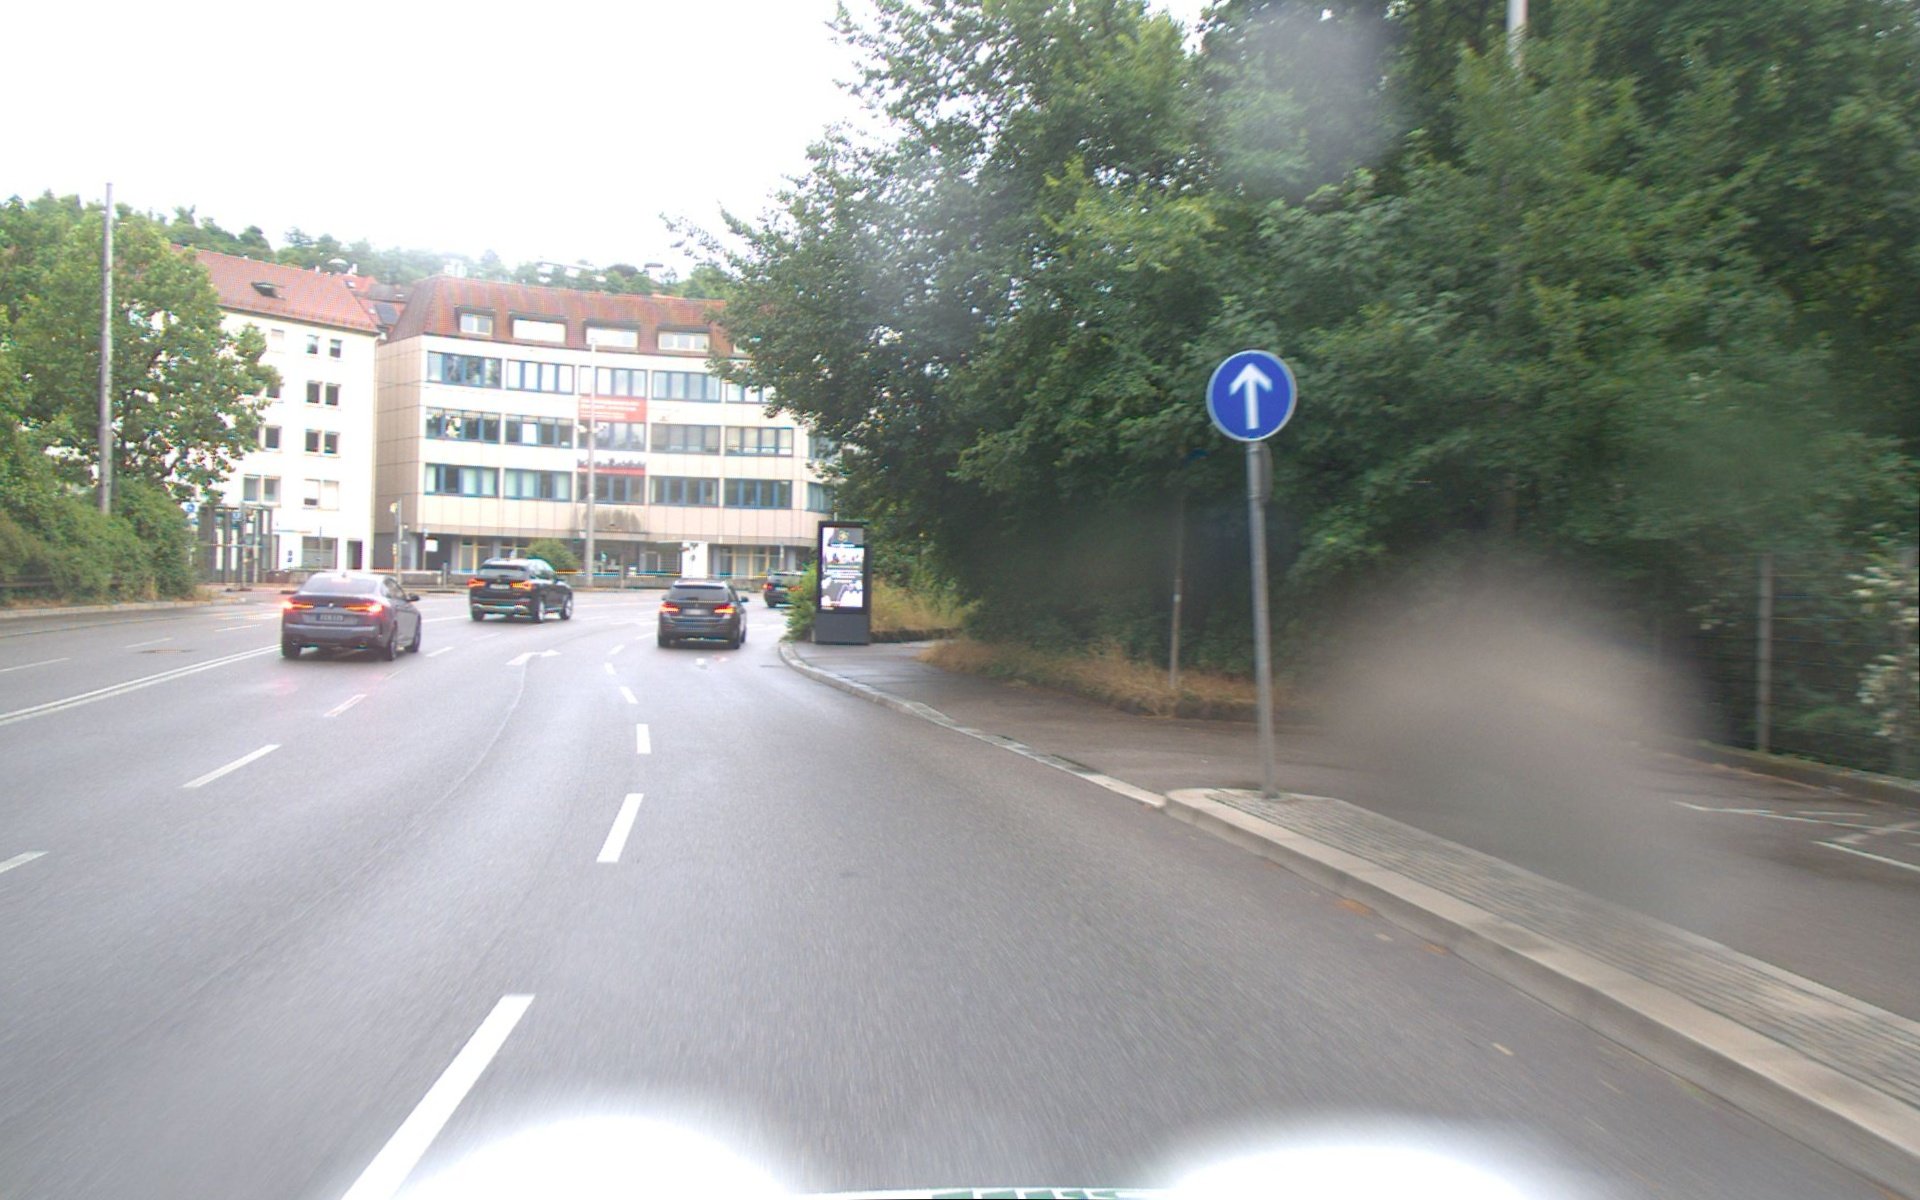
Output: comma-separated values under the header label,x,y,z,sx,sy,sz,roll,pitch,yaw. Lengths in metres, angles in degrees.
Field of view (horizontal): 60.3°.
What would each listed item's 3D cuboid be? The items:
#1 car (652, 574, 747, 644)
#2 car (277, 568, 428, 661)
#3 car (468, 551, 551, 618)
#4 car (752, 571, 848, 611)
label,x,y,z,sx,sy,sz,roll,pitch,yaw
car,-5.752,0.184,36.932,1.921,1.451,4.119,1,0,-7
car,-10.497,0.200,28.862,1.758,1.451,4.373,1,1,-11
car,-12.130,-0.408,44.738,1.866,1.723,3.988,1,0,-12
car,-6.218,-0.349,64.824,1.755,1.450,4.612,2,1,23
